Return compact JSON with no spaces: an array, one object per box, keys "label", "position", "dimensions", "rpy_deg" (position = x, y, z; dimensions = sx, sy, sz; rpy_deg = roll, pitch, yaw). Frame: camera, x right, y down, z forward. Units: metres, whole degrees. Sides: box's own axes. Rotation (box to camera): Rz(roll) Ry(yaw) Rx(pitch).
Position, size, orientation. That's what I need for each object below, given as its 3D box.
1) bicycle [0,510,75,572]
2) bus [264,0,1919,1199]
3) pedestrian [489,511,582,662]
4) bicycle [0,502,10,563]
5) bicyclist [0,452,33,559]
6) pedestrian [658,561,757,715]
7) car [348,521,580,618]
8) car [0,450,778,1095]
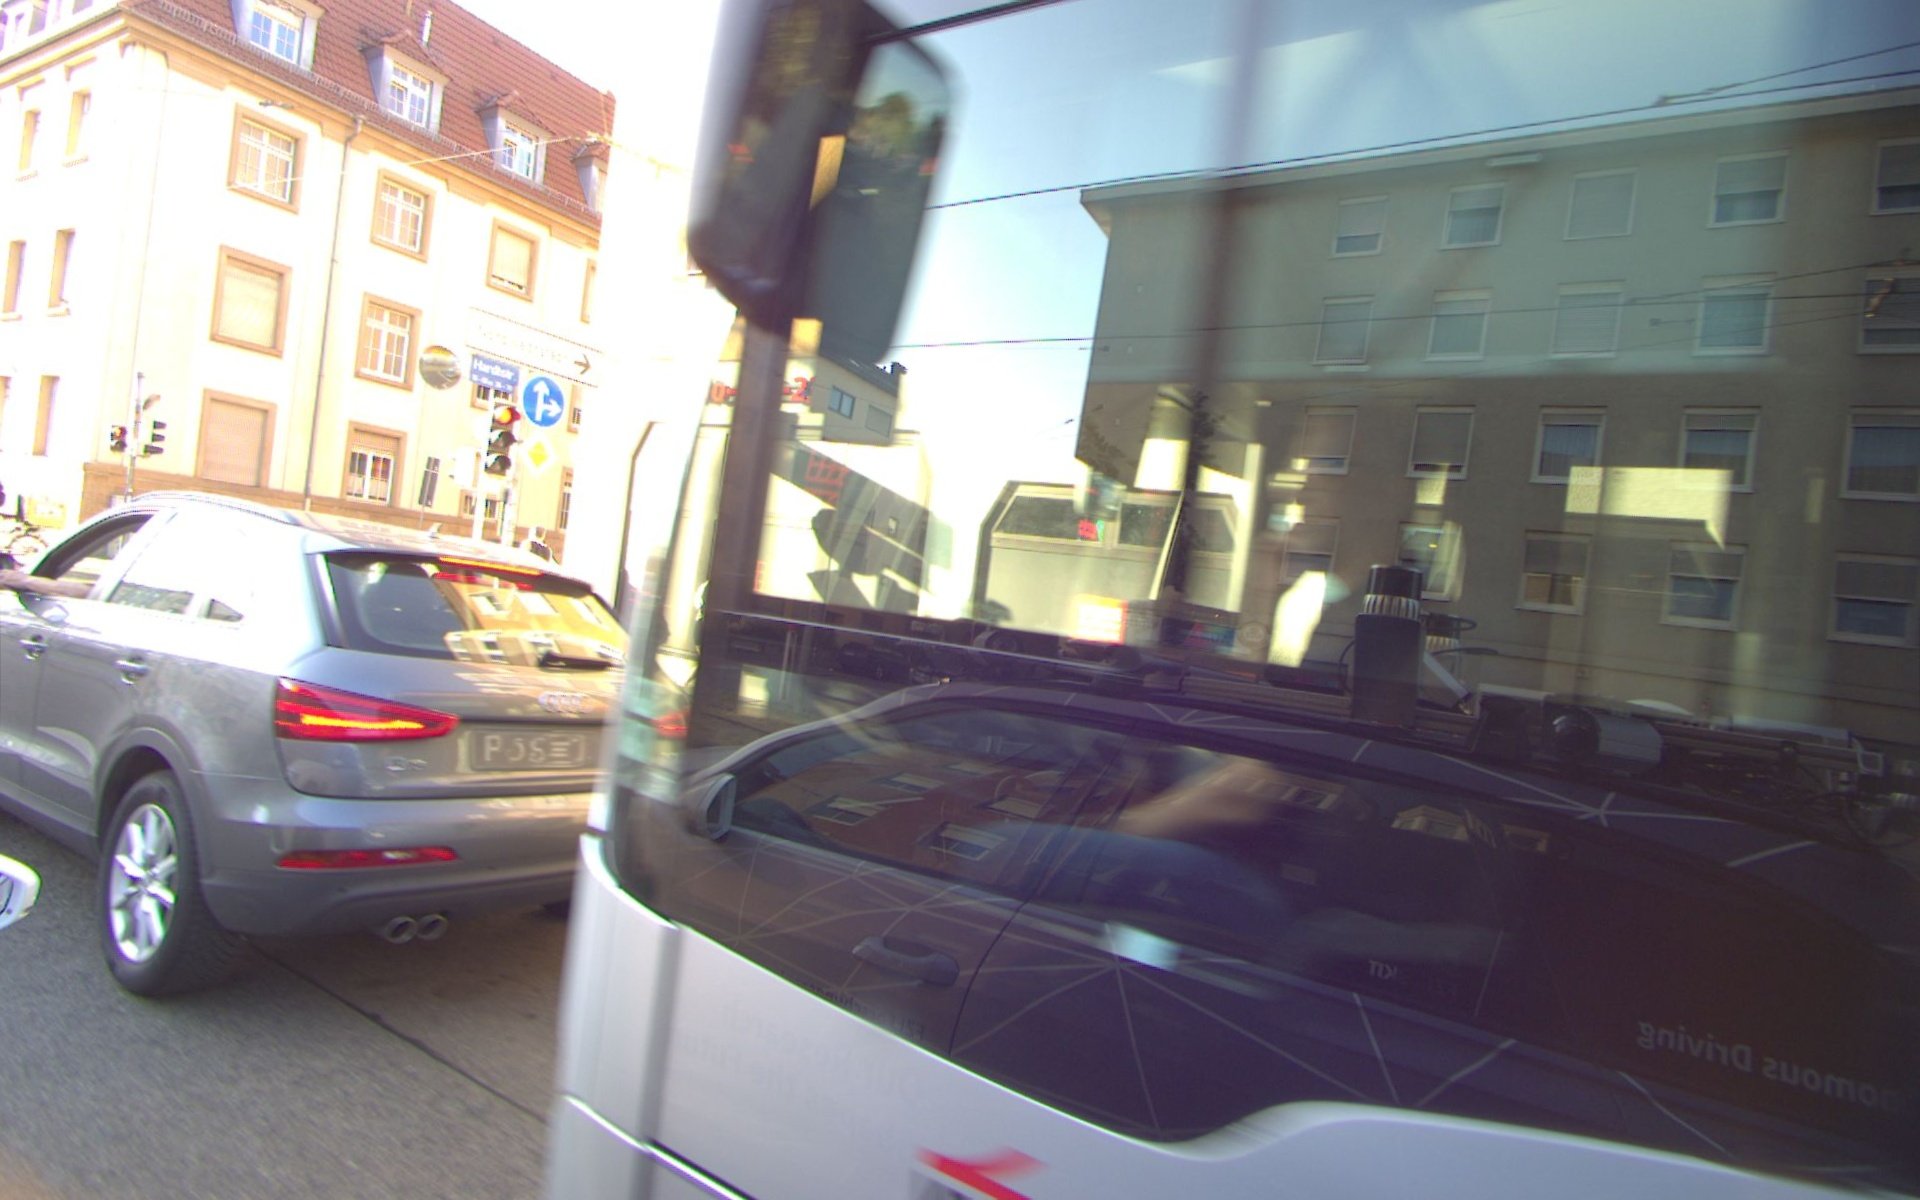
[{"label":"bicycle","position":[-16.838,-1.093,17.435],"dimensions":[0.734,0.970,2.076],"rpy_deg":[7,0,29]},{"label":"bus","position":[3.526,0.416,0.413],"dimensions":[8.979,3.091,2.744],"rpy_deg":[7,-1,32]},{"label":"pedestrian","position":[-5.658,-0.172,13.417],"dimensions":[0.706,1.898,0.694],"rpy_deg":[8,1,32]},{"label":"bicycle","position":[-18.315,-1.344,17.860],"dimensions":[0.565,1.107,1.948],"rpy_deg":[7,-1,29]},{"label":"bicyclist","position":[-16.818,-1.676,17.407],"dimensions":[0.708,1.773,0.795],"rpy_deg":[7,-1,30]},{"label":"pedestrian","position":[-2.736,0.407,10.901],"dimensions":[0.817,1.544,0.440],"rpy_deg":[7,1,32]},{"label":"car","position":[-11.503,-0.647,23.645],"dimensions":[1.967,1.660,4.425],"rpy_deg":[7,-1,32]},{"label":"car","position":[-2.975,0.324,4.379],"dimensions":[4.018,1.595,1.772],"rpy_deg":[7,0,32]}]
